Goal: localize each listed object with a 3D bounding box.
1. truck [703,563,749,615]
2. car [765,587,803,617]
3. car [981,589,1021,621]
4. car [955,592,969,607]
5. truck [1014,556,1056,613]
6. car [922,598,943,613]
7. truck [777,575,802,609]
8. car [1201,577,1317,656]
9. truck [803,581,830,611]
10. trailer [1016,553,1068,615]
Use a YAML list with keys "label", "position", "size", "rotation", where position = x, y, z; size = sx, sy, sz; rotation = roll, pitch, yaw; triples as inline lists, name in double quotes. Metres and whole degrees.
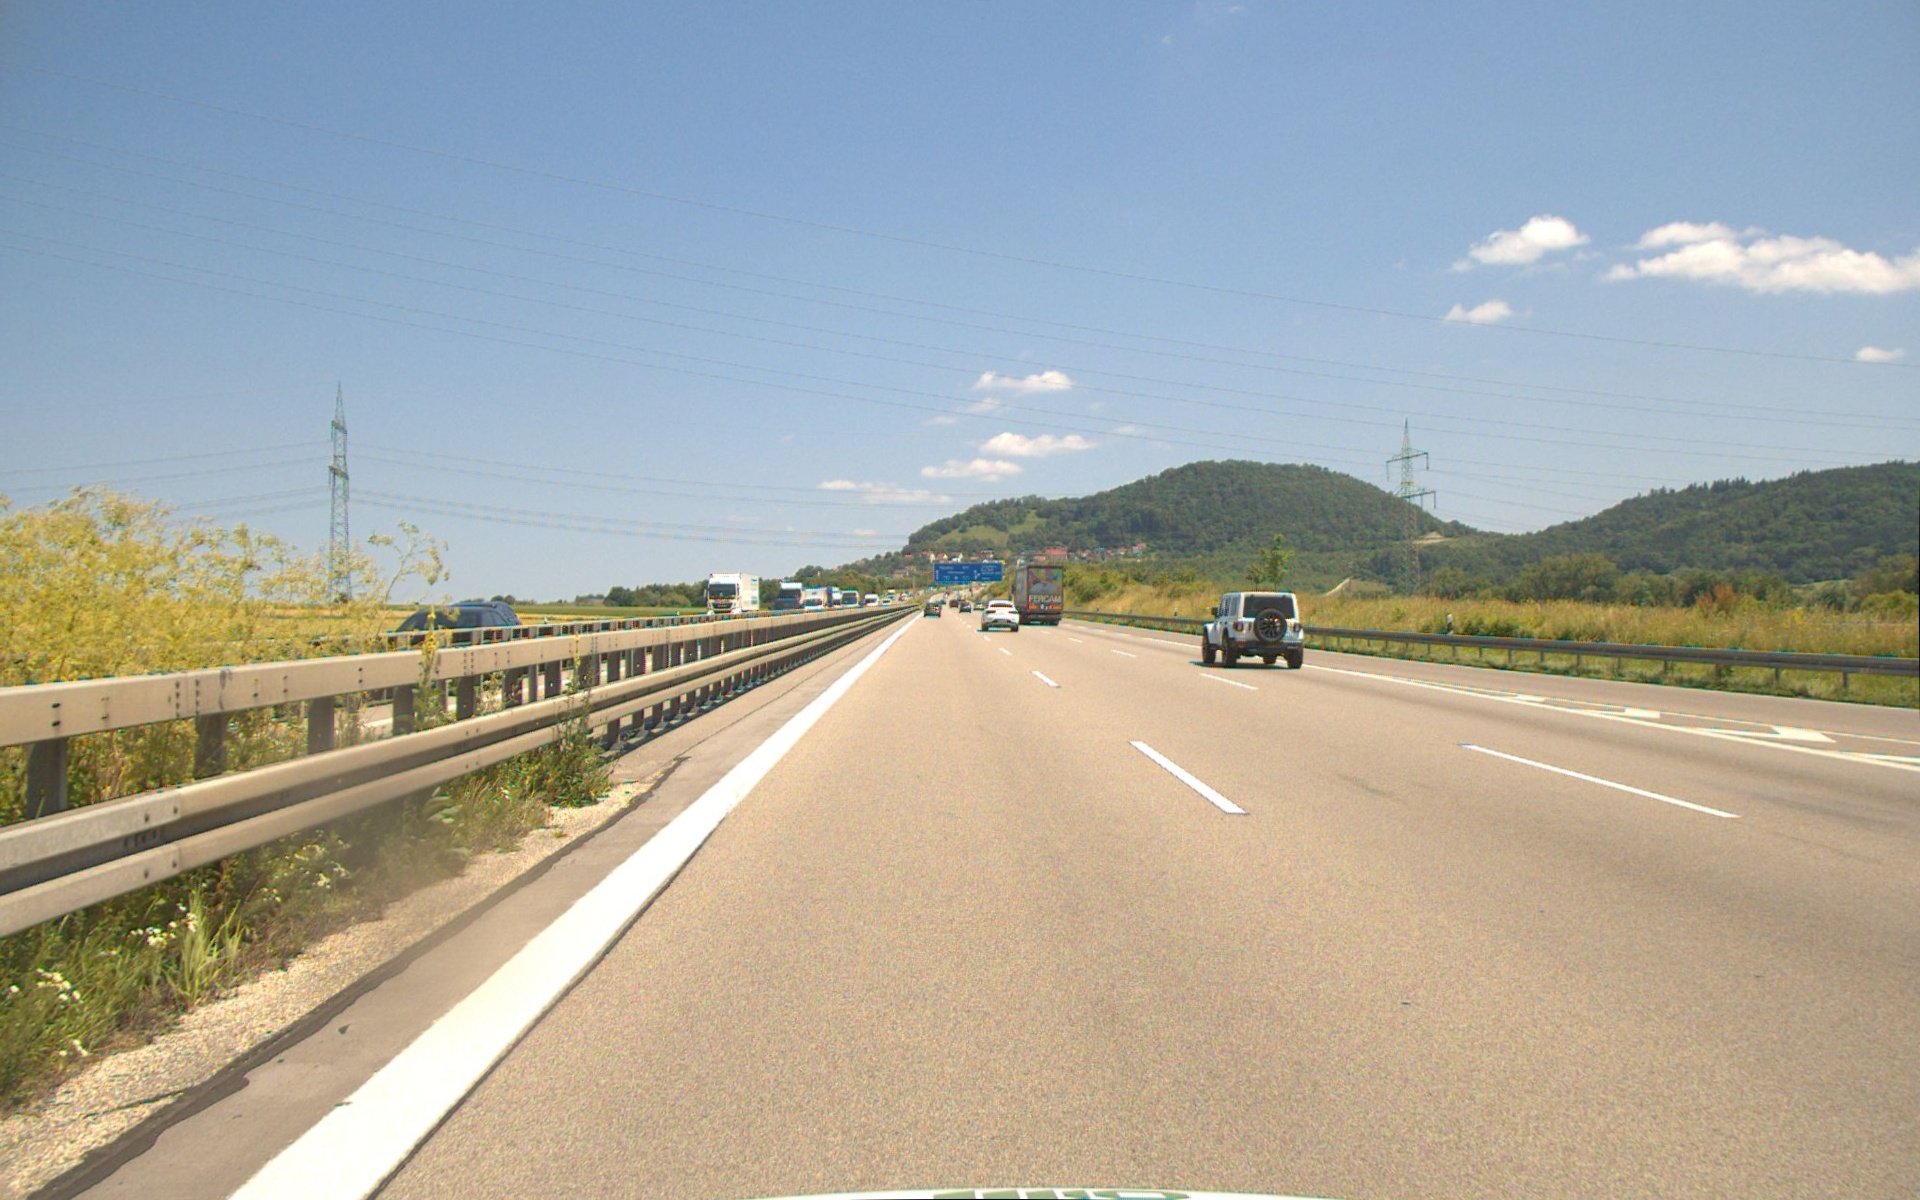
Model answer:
- label: "truck"
  position: [-18.620, -0.834, 131.821]
  size: [2.880, 3.999, 6.474]
  rotation: [1, 0, -2]
- label: "car"
  position: [-10.381, 0.137, 97.665]
  size: [1.773, 1.669, 4.427]
  rotation: [-2, 0, -1]
- label: "car"
  position: [2.149, 0.242, 87.995]
  size: [1.875, 1.608, 5.229]
  rotation: [1, 0, -1]
- label: "car"
  position: [0.287, -0.131, 231.837]
  size: [1.953, 2.049, 4.000]
  rotation: [1, 0, 0]
- label: "truck"
  position: [5.642, -1.133, 125.164]
  size: [2.696, 4.091, 6.787]
  rotation: [1, 0, -1]
- label: "car"
  position: [-2.693, 0.507, 161.753]
  size: [1.953, 1.413, 4.000]
  rotation: [1, 0, 0]
- label: "truck"
  position: [-19.740, -0.901, 191.513]
  size: [2.664, 3.755, 6.051]
  rotation: [1, 0, -4]
- label: "car"
  position: [7.521, 0.393, 41.994]
  size: [1.993, 1.835, 4.249]
  rotation: [-2, 0, -2]
- label: "truck"
  position: [-14.930, -0.413, 172.755]
  size: [2.203, 3.062, 7.426]
  rotation: [-2, 0, -1]
- label: "trailer"
  position: [5.794, -1.091, 118.742]
  size: [2.670, 4.227, 11.804]
  rotation: [1, 0, -2]
